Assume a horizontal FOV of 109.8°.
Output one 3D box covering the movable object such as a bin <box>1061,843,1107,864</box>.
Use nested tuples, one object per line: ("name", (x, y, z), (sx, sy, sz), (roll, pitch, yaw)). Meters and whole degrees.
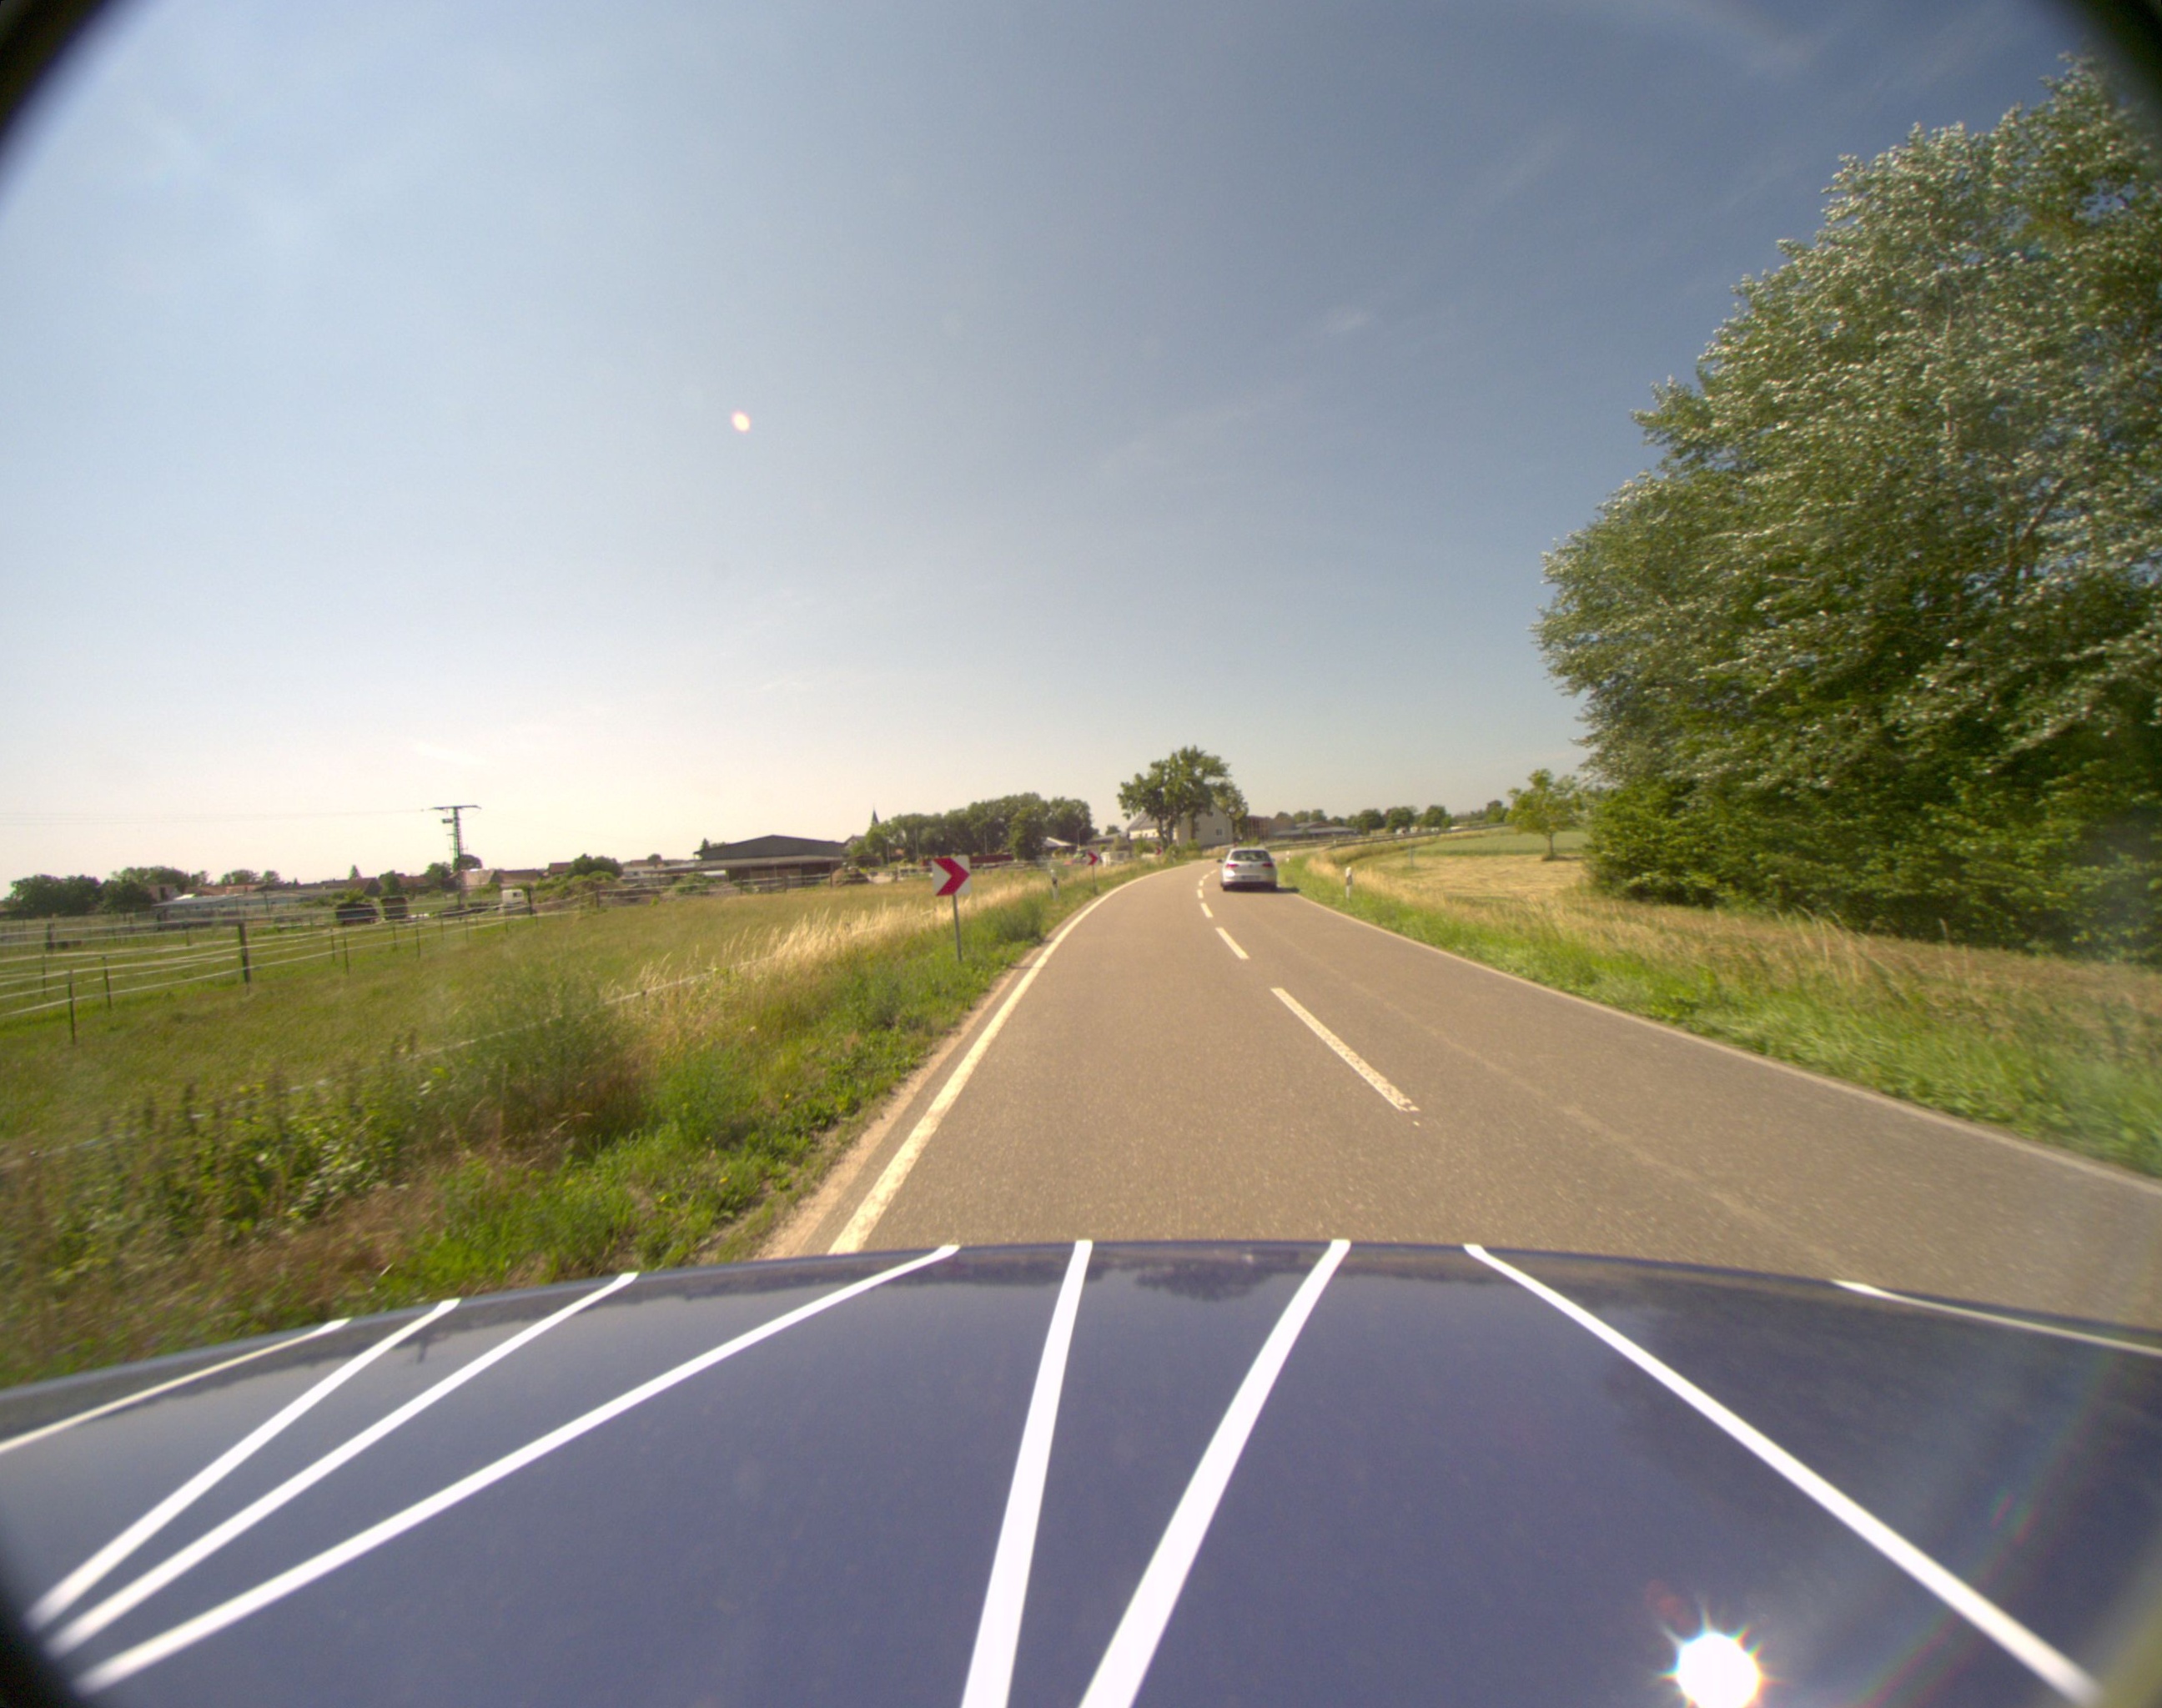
("movable object such as a bin", (0.562, -0.130, 120.034), (6.514, 2.753, 3.006), (-4, 0, -34))

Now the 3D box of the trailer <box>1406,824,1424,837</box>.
("trailer", (77.783, -5.406, 177.005), (2.232, 2.848, 5.046), (-3, 1, 6))

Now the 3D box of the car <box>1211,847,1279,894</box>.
("car", (5.498, 0.500, 25.932), (1.787, 1.419, 4.061), (0, 1, 5))

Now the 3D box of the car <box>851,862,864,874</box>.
("car", (-42.940, 2.717, 146.116), (2.001, 2.002, 3.994), (-6, 1, -19))

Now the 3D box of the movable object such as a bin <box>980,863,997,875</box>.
("movable object such as a bin", (-10.857, 1.749, 89.335), (1.519, 1.342, 1.370), (-5, 1, -30))
